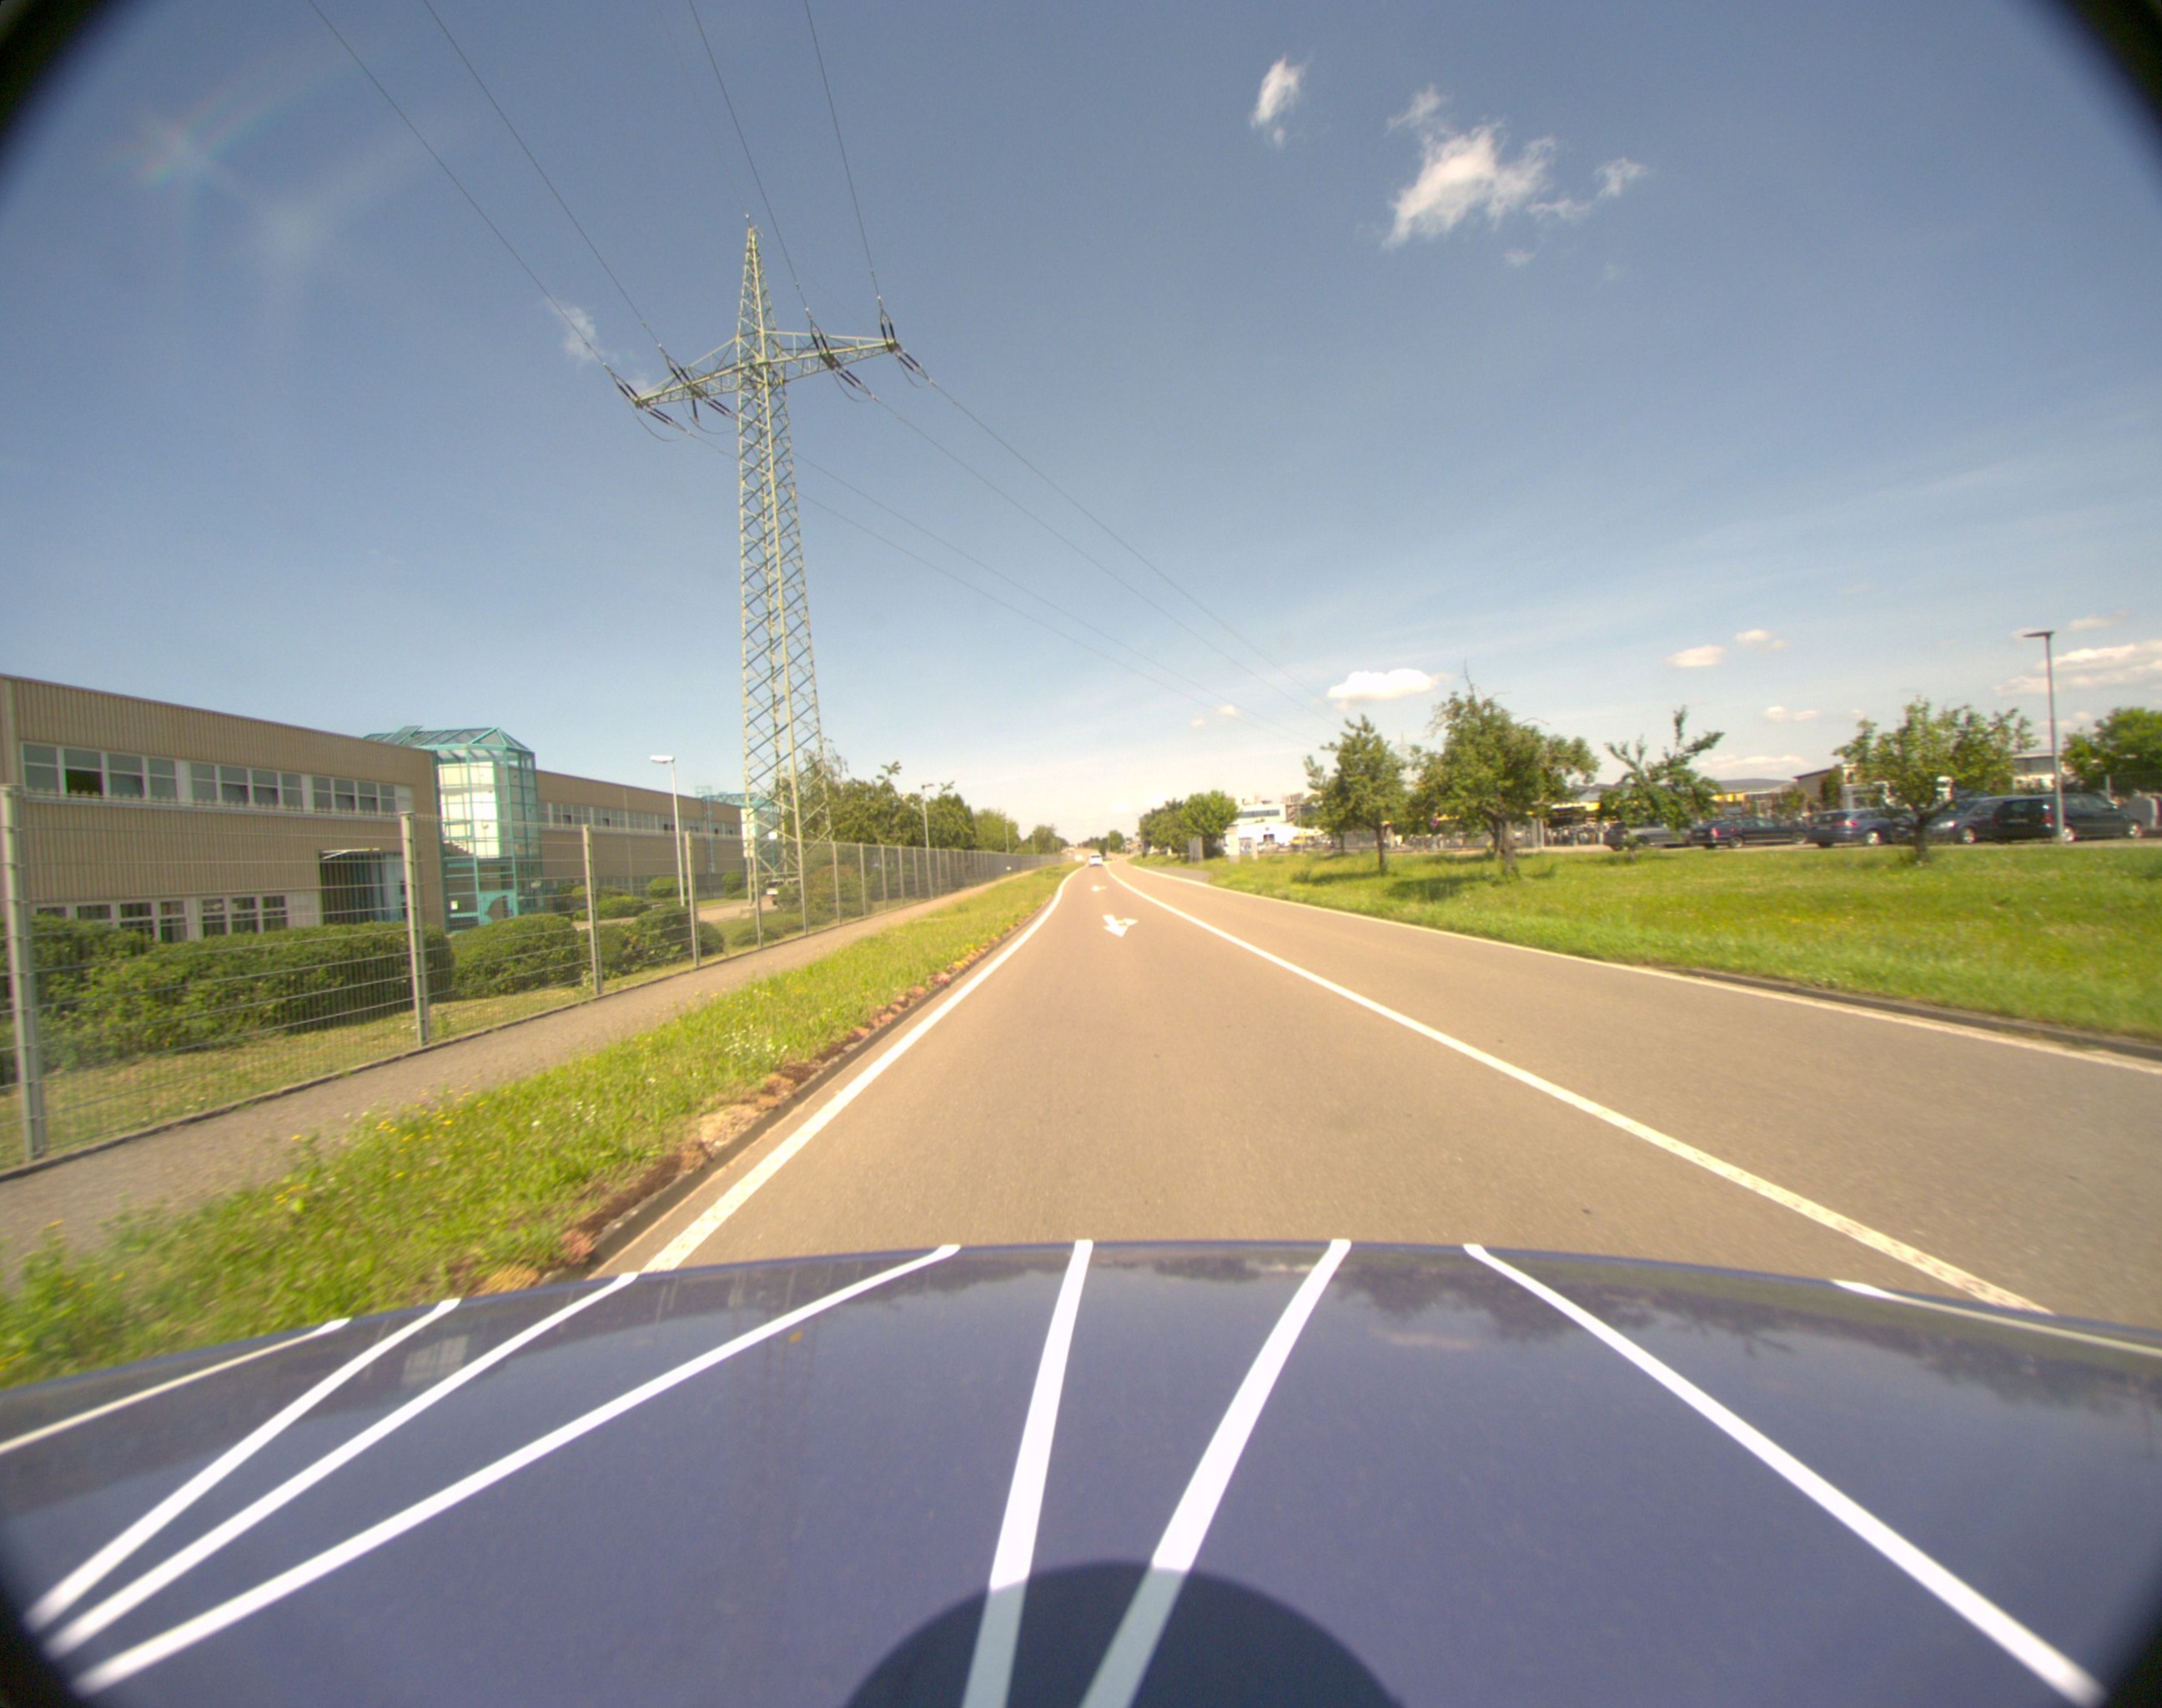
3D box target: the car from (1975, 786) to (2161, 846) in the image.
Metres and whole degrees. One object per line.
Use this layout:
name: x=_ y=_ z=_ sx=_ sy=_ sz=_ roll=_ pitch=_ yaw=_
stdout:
car: x=32.335 y=-1.220 z=24.855 sx=3.998 sy=1.630 sz=1.999 roll=-4 pitch=0 yaw=-5

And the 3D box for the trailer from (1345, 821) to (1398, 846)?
trailer: x=37.738 y=-2.657 z=98.789 sx=5.578 sy=2.809 sz=2.739 roll=-4 pitch=1 yaw=-6

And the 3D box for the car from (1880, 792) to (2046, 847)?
car: x=31.857 y=-1.229 z=27.517 sx=3.998 sy=1.630 sz=1.857 roll=-4 pitch=1 yaw=-5

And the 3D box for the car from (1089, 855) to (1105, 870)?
car: x=2.334 y=1.148 z=108.145 sx=1.998 sy=1.904 sz=4.000 roll=-4 pitch=1 yaw=4

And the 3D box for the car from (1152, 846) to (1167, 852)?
car: x=21.980 y=-1.481 z=213.425 sx=3.996 sy=1.510 sz=2.000 roll=-4 pitch=1 yaw=4

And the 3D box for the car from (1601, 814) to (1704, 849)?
car: x=30.561 y=-1.192 z=40.710 sx=3.998 sy=1.519 sz=1.999 roll=-4 pitch=0 yaw=-5

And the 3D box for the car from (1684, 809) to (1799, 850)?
car: x=30.727 y=-1.133 z=35.387 sx=3.998 sy=1.546 sz=1.665 roll=-4 pitch=1 yaw=-5

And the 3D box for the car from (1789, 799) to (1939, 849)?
car: x=30.824 y=-1.153 z=29.996 sx=3.998 sy=1.630 sz=1.999 roll=-4 pitch=0 yaw=-5

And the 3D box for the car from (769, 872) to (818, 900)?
car: x=-22.150 y=2.434 z=58.733 sx=2.116 sy=1.769 sz=5.652 roll=-4 pitch=0 yaw=-7
